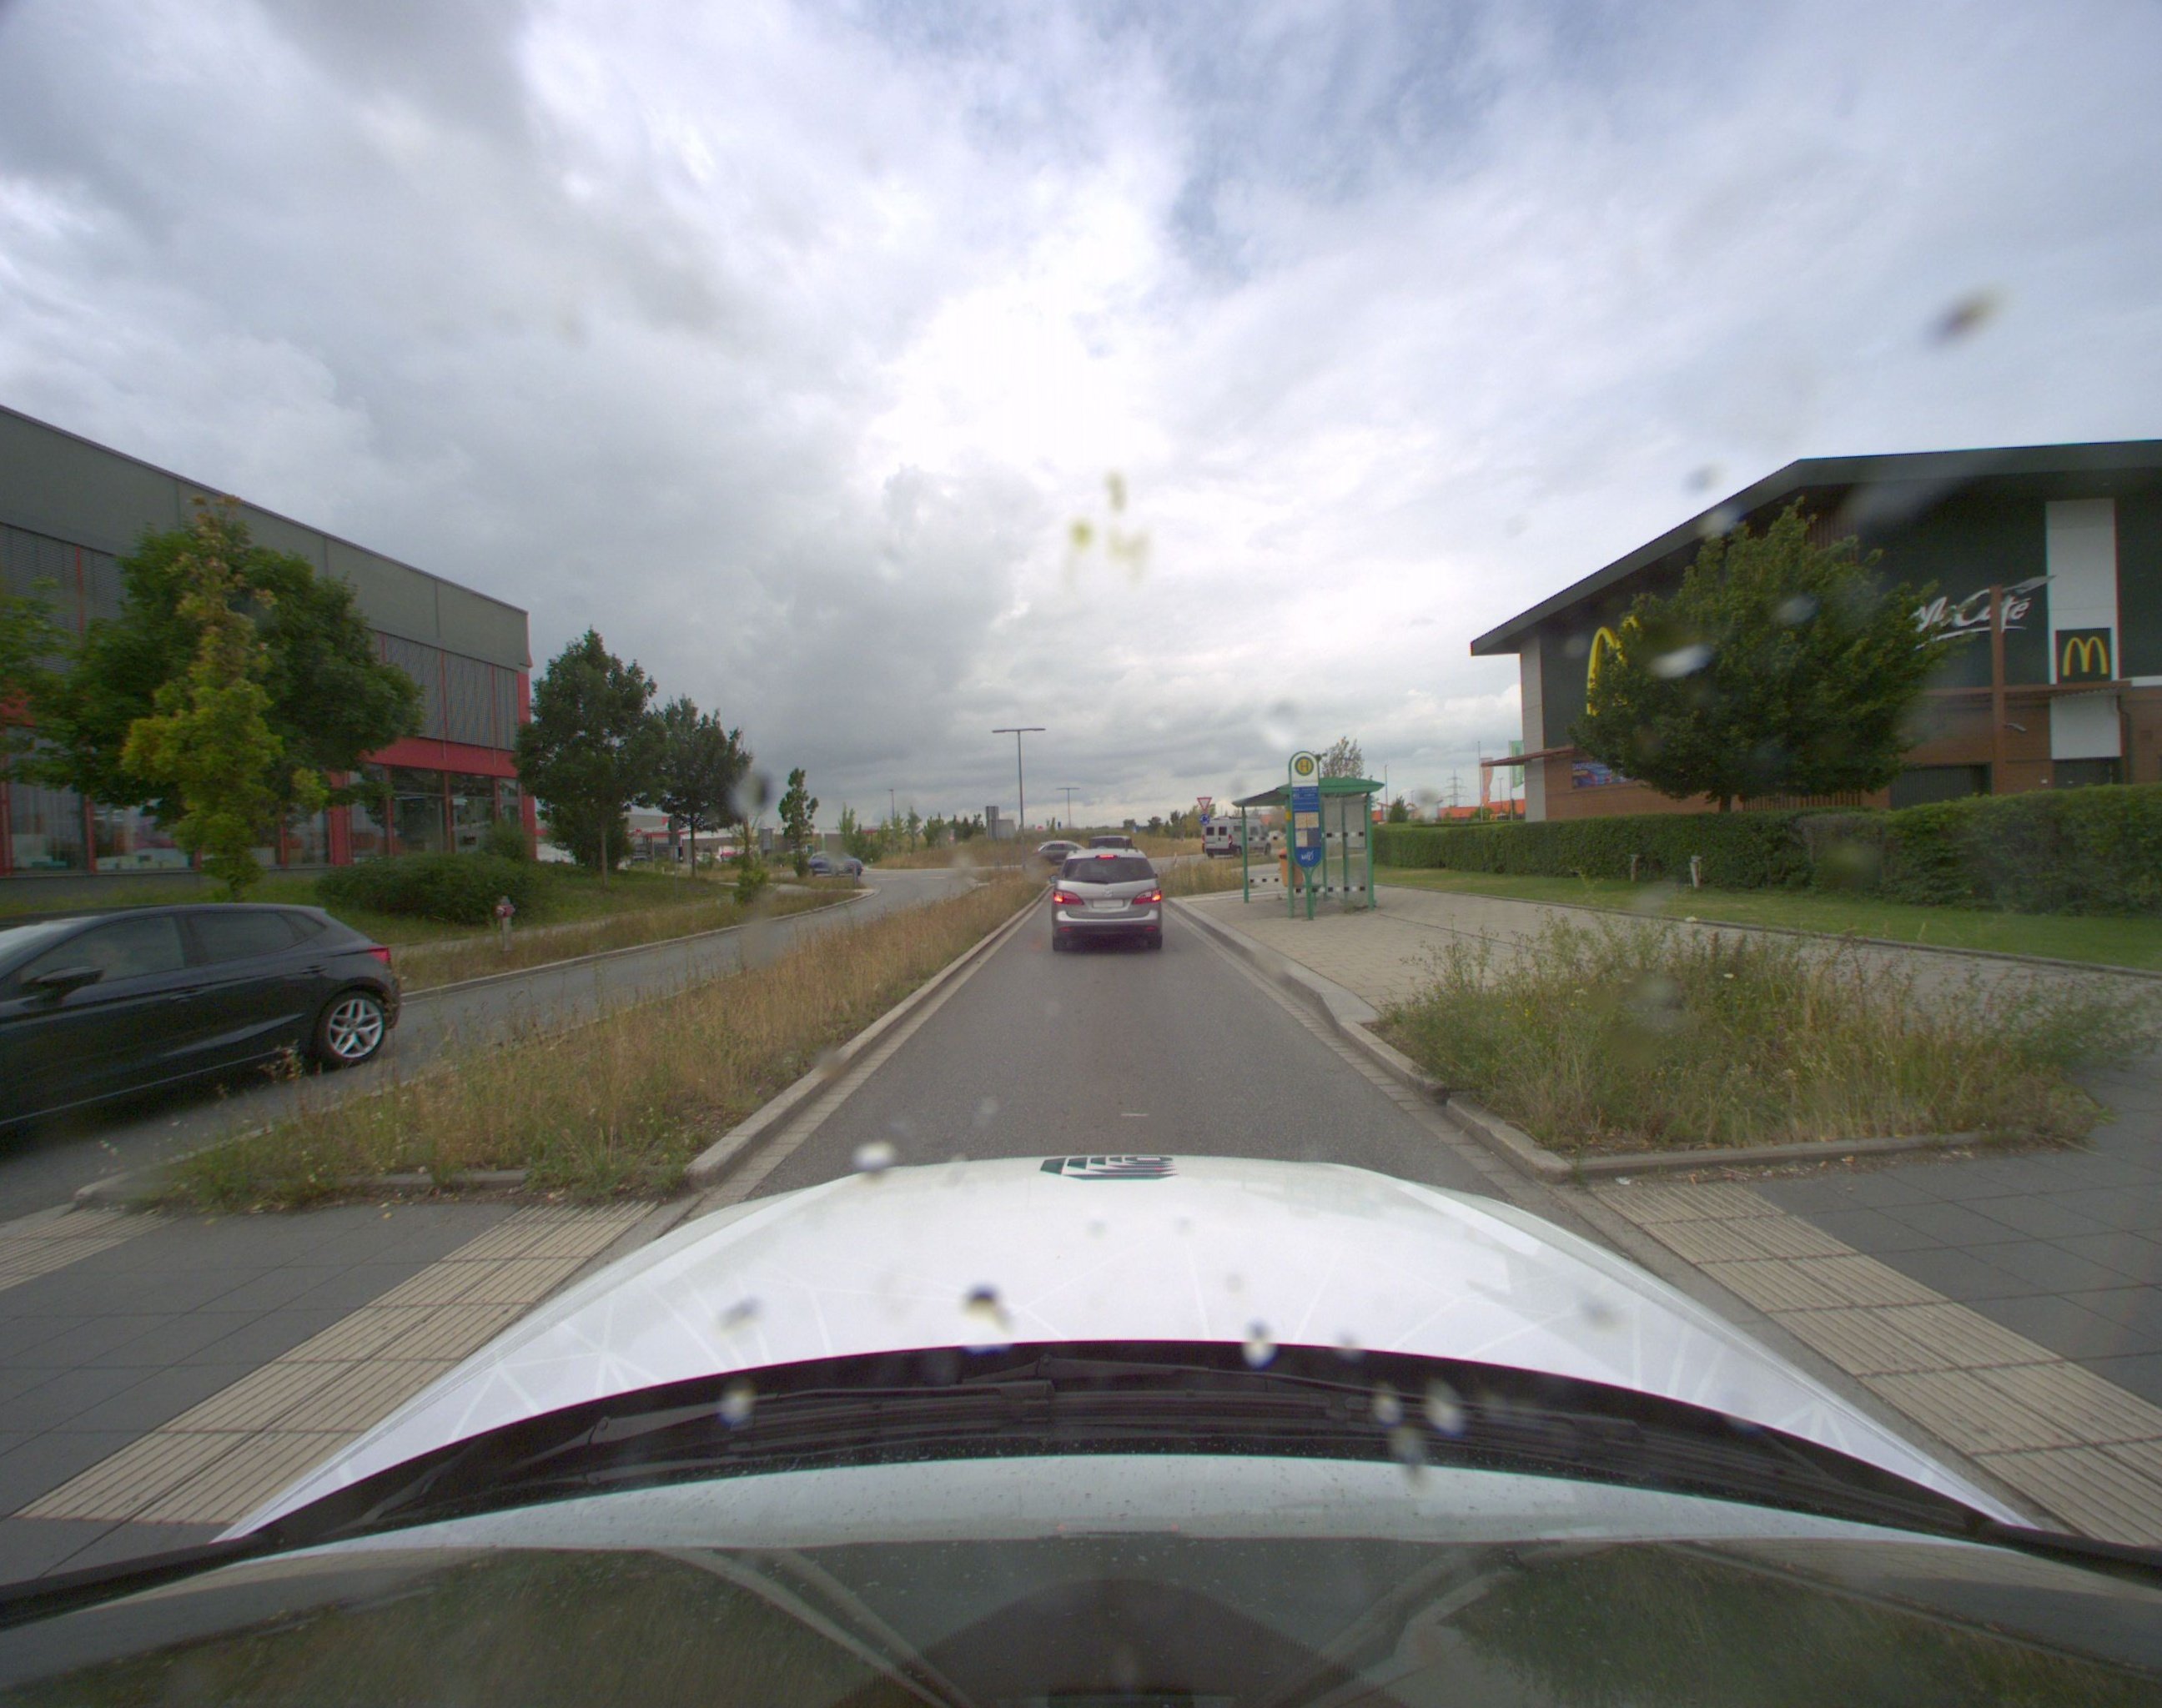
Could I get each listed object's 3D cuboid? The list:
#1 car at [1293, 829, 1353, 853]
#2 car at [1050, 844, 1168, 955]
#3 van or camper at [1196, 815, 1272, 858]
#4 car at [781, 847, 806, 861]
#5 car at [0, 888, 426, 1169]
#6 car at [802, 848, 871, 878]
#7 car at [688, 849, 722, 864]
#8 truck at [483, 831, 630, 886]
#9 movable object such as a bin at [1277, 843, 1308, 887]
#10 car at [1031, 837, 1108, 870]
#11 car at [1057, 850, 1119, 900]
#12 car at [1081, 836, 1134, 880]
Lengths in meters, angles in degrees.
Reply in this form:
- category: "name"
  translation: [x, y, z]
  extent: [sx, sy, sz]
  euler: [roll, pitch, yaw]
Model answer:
- category: "car"
  translation: [19.936, -1.055, 67.276]
  extent: [4.572, 1.757, 2.006]
  euler: [-2, 0, 11]
- category: "car"
  translation: [0.416, 0.652, 13.937]
  extent: [1.724, 1.600, 3.807]
  euler: [-1, 1, 0]
- category: "van or camper"
  translation: [9.588, -1.082, 50.699]
  extent: [2.280, 2.506, 5.239]
  euler: [-1, 1, 40]
- category: "car"
  translation: [-42.159, 0.003, 119.443]
  extent: [1.986, 1.859, 4.002]
  euler: [-1, 0, 2]
- category: "car"
  translation: [-6.835, 1.078, 5.253]
  extent: [1.835, 1.407, 4.001]
  euler: [-4, 0, 1]
- category: "car"
  translation: [-14.801, 0.566, 49.213]
  extent: [4.173, 1.528, 1.859]
  euler: [-4, 0, 37]
- category: "car"
  translation: [-55.564, 0.393, 120.437]
  extent: [3.975, 2.013, 2.000]
  euler: [-2, 0, -1]
- category: "truck"
  translation: [-41.697, 0.316, 65.023]
  extent: [9.296, 3.906, 3.136]
  euler: [-2, 0, -7]
- category: "movable object such as a bin"
  translation: [3.929, 0.199, 15.164]
  extent: [0.454, 0.798, 0.380]
  euler: [-2, 0, 0]
- category: "car"
  translation: [-0.660, -0.043, 45.622]
  extent: [4.180, 1.592, 2.063]
  euler: [-3, 1, -3]
- category: "car"
  translation: [0.304, 0.634, 27.166]
  extent: [1.837, 1.418, 4.228]
  euler: [-2, 1, 3]
- category: "car"
  translation: [1.287, 0.152, 36.971]
  extent: [2.048, 1.825, 4.794]
  euler: [-2, 0, 6]
